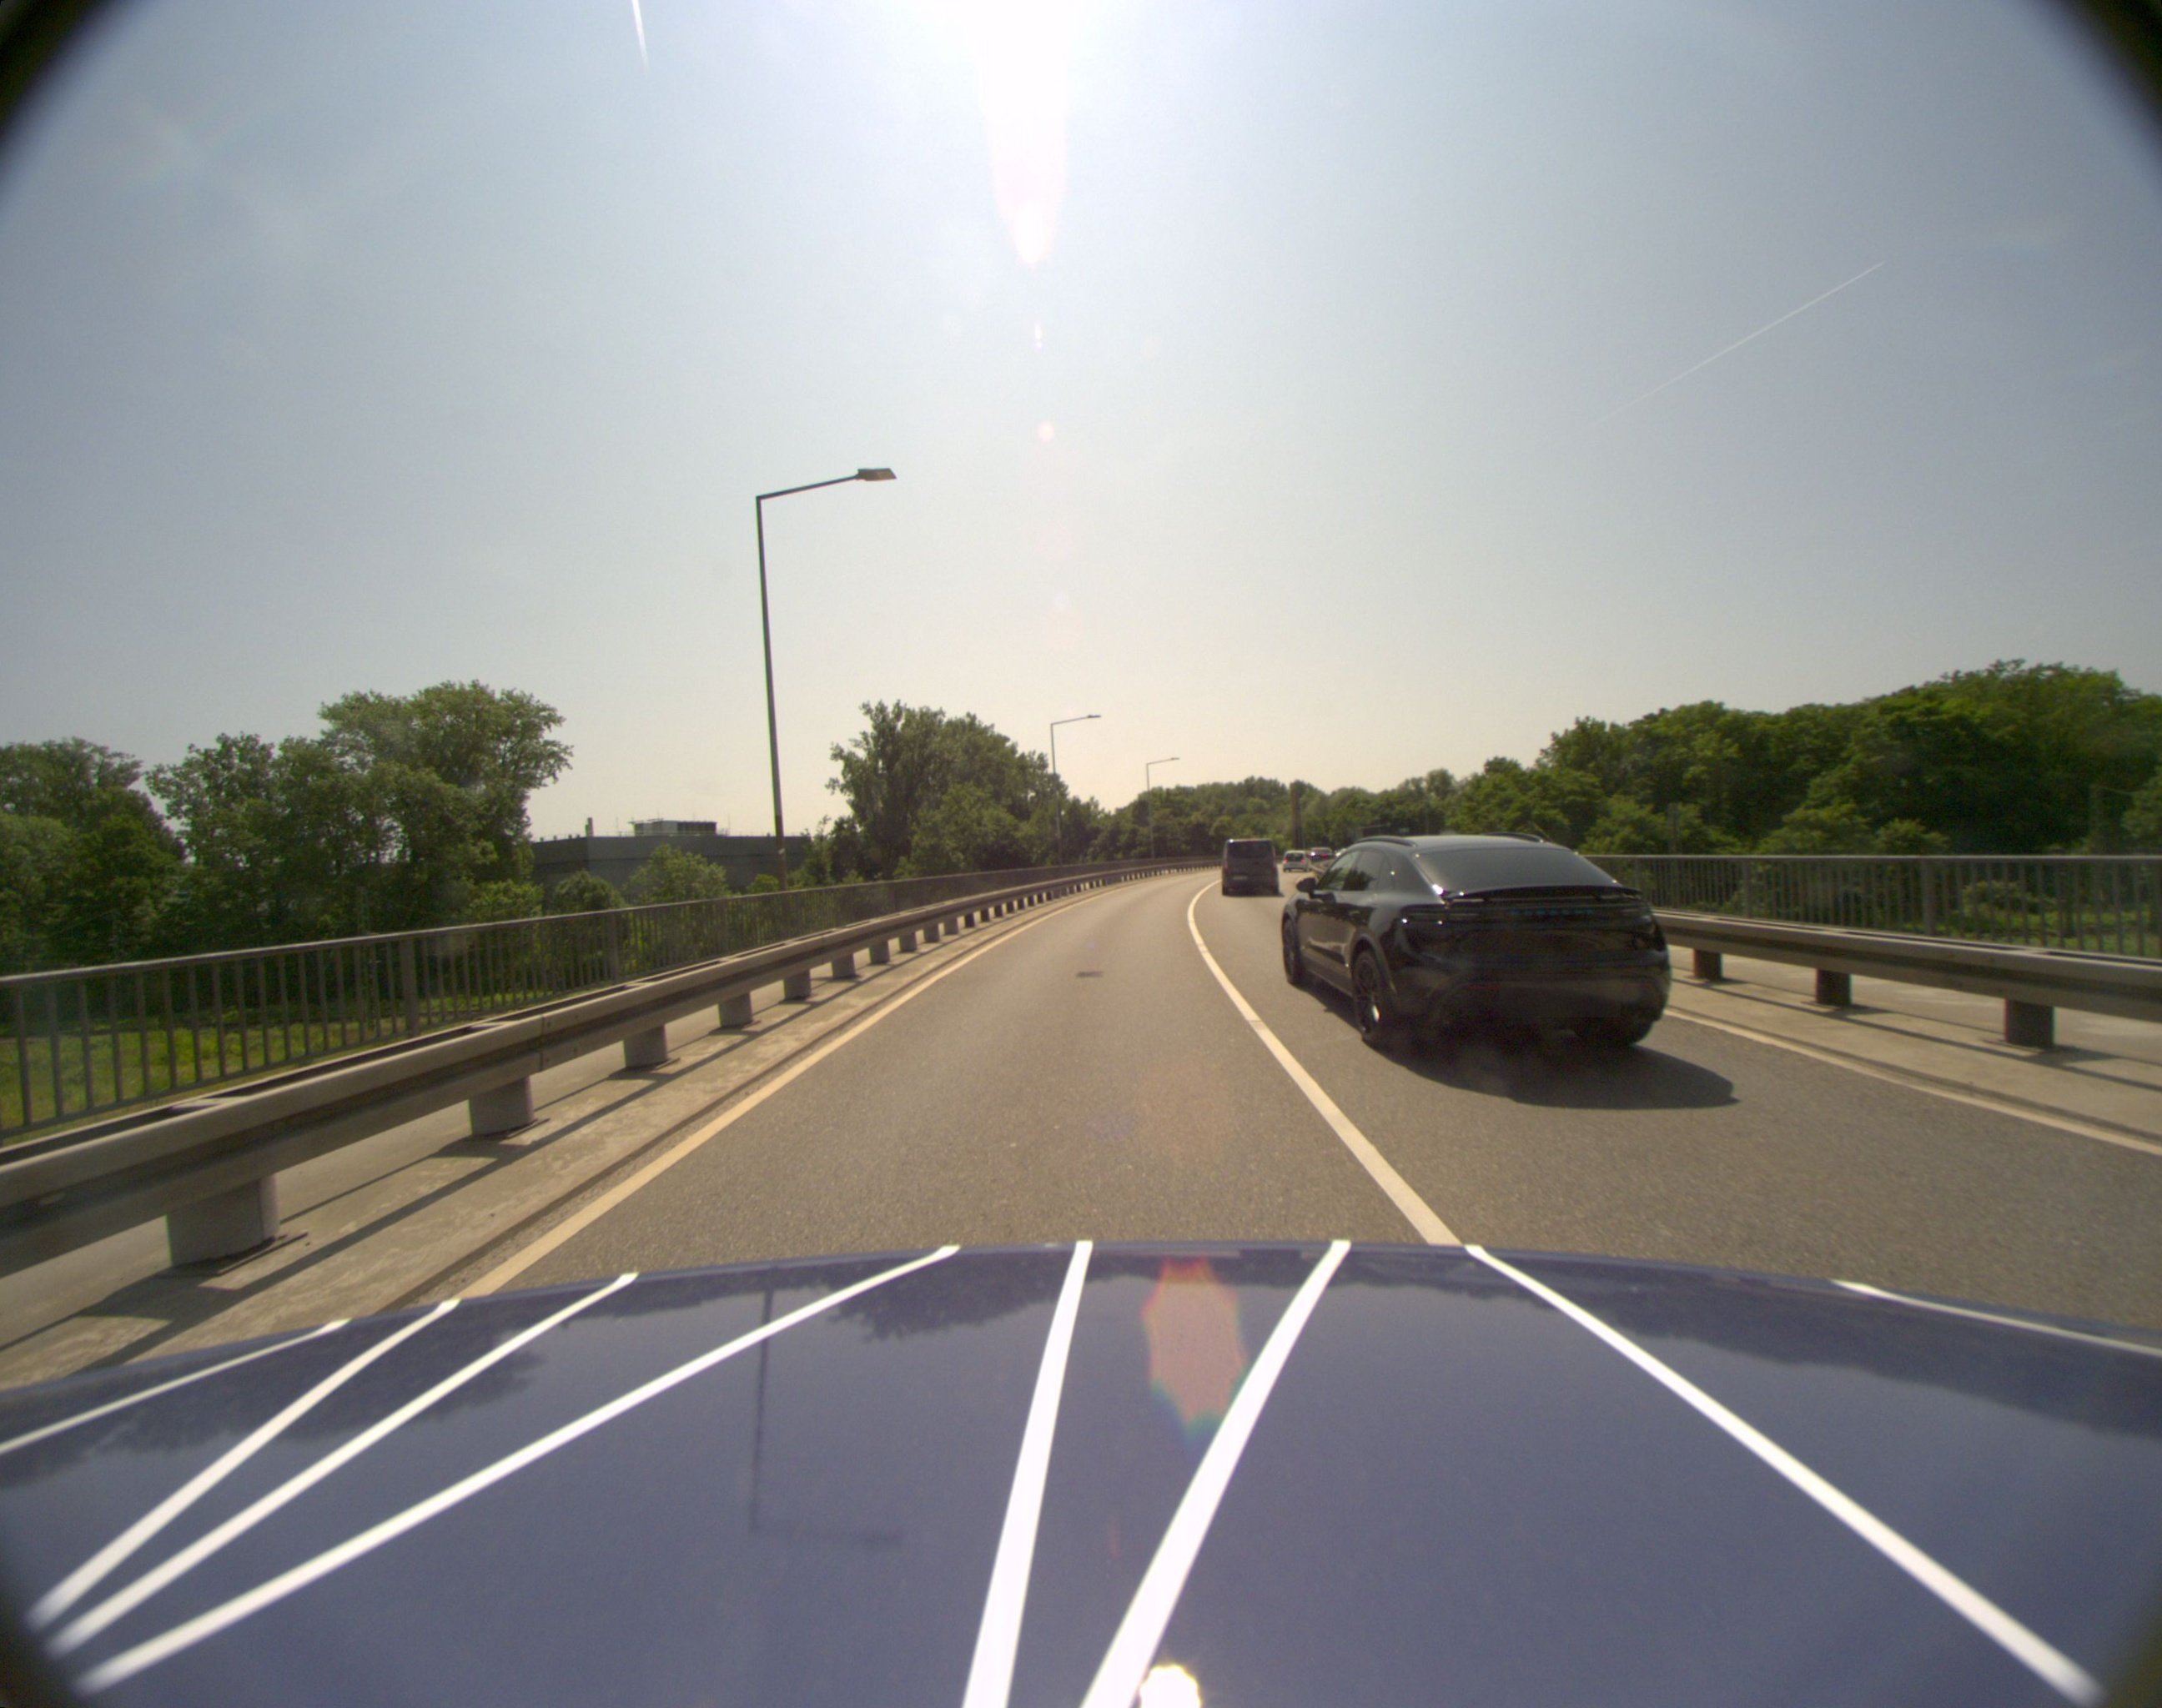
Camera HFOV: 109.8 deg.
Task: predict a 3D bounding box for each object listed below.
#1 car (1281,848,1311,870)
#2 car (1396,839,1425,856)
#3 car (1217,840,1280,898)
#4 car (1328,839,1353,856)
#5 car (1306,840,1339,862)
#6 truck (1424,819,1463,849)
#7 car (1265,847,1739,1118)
[{"bbox_3d":[15.166,0.328,53.506,1.666,1.455,3.491,-2,0,21],"label":"car"},{"bbox_3d":[41.037,-0.856,94.467,1.862,1.988,4.823,-1,1,41],"label":"car"},{"bbox_3d":[6.242,0.467,28.834,2.010,1.947,5.274,-1,1,9],"label":"car"},{"bbox_3d":[32.613,-0.879,95.290,1.995,2.002,4.008,-2,0,33],"label":"car"},{"bbox_3d":[20.426,-0.277,64.145,1.908,1.756,4.007,-2,0,27],"label":"car"},{"bbox_3d":[49.363,-2.669,103.455,6.198,3.968,2.707,-1,1,-43],"label":"truck"},{"bbox_3d":[3.091,0.802,6.859,1.897,1.586,4.488,-2,0,2],"label":"car"}]
